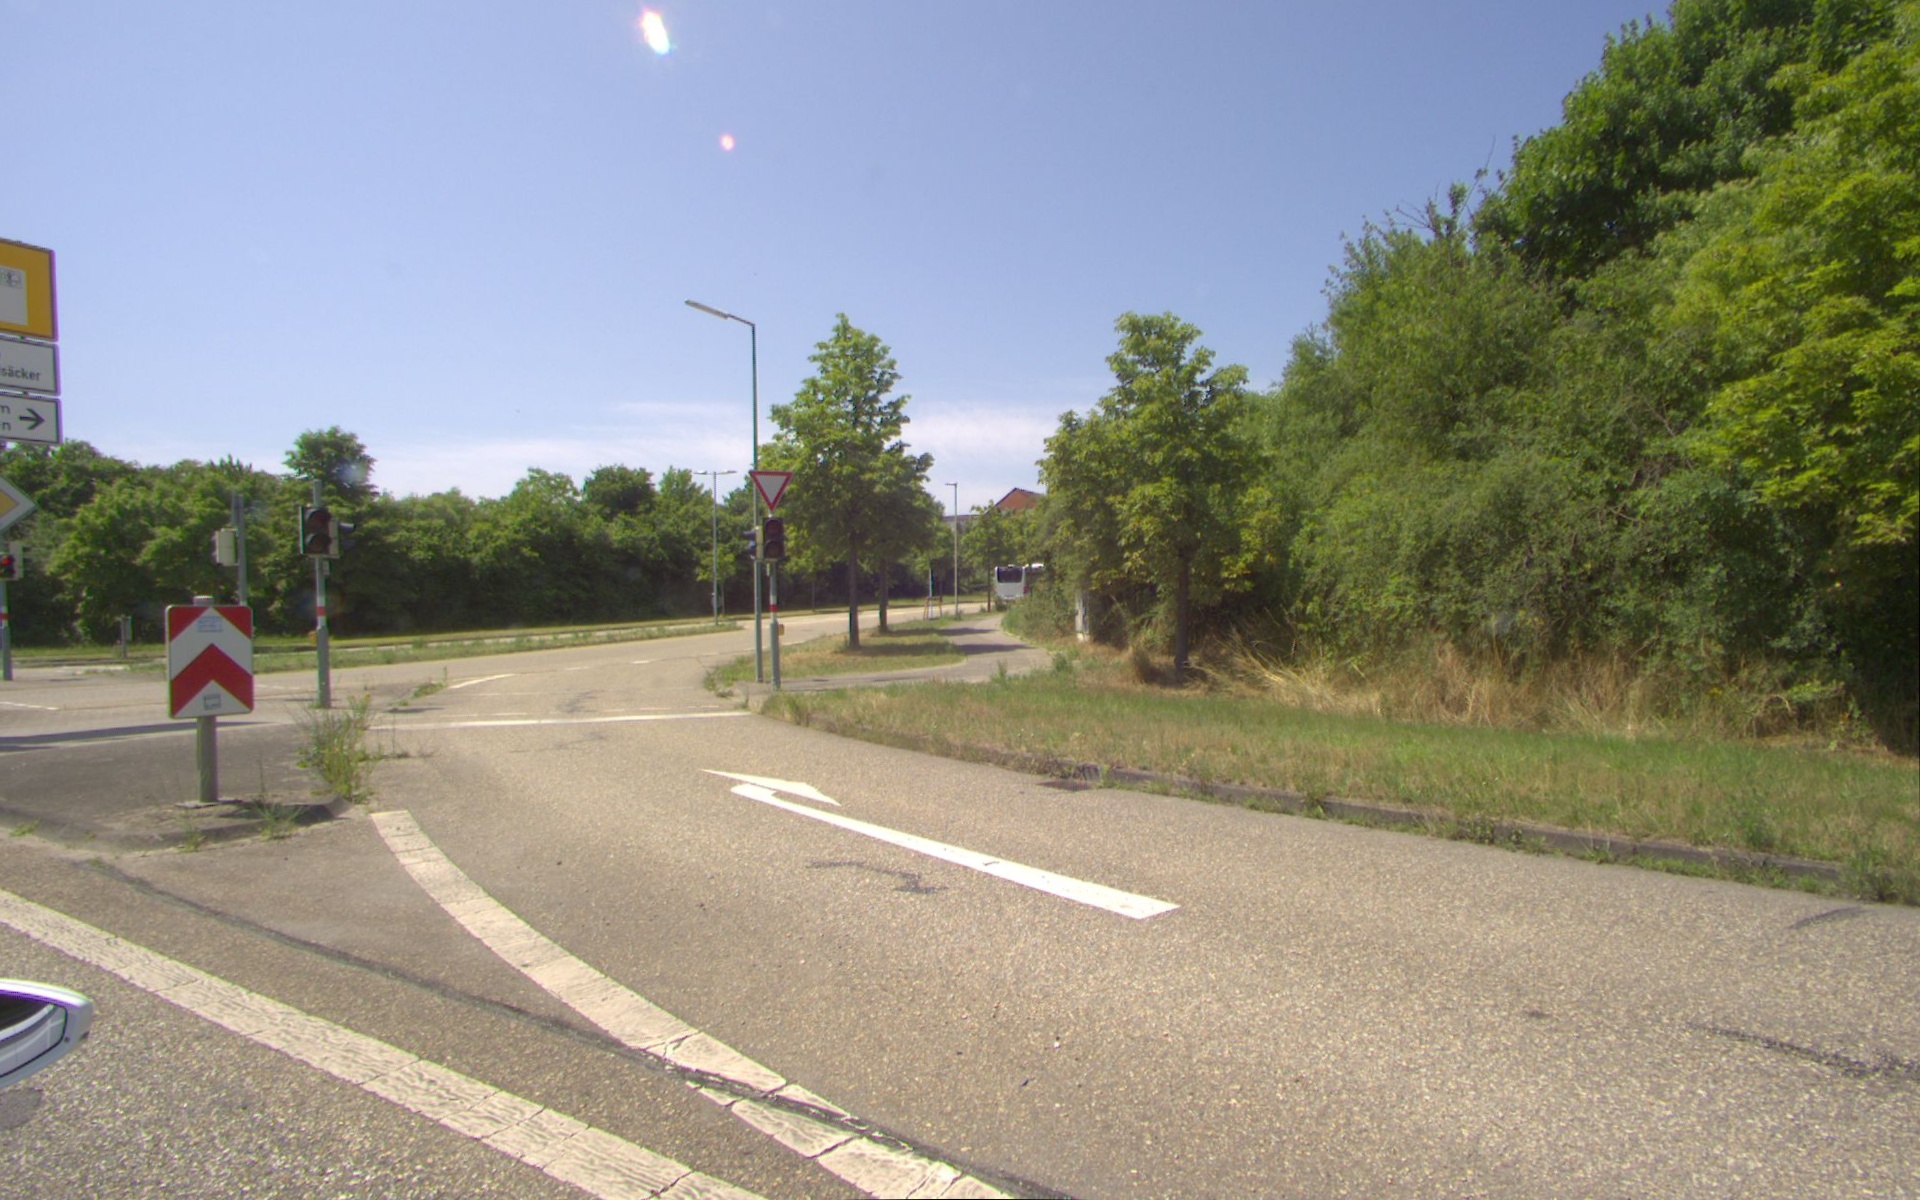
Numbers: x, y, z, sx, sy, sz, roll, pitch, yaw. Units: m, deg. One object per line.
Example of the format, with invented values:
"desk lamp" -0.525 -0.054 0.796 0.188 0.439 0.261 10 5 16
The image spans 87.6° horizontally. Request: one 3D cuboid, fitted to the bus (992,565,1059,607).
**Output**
"bus" 5.453 -1.045 81.006 2.584 3.127 12.060 0 0 18
